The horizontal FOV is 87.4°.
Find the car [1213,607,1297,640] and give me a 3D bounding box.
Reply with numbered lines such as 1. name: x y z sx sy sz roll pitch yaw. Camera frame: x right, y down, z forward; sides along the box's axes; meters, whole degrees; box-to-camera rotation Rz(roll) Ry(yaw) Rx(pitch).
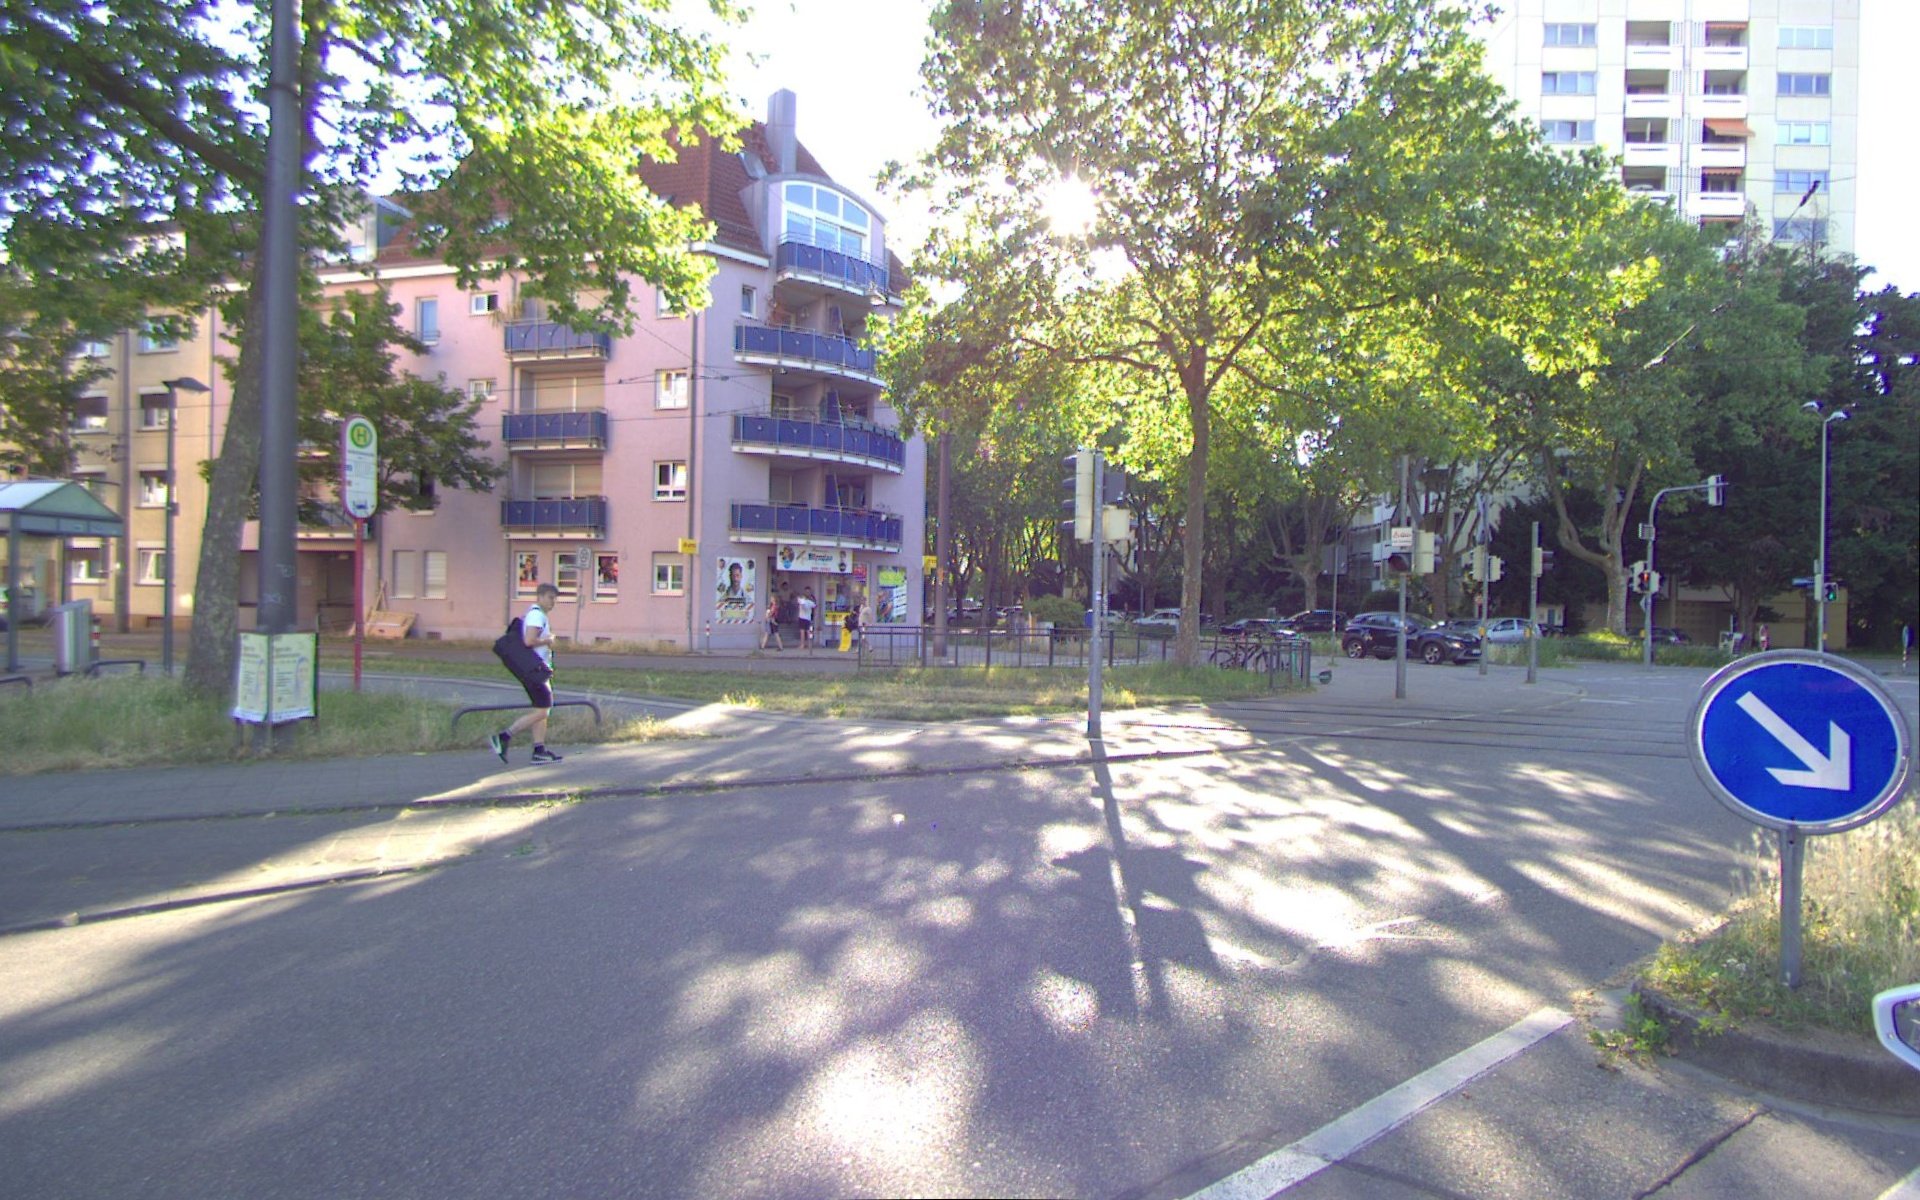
1. car: 15.682 1.240 53.513 3.921 1.617 1.738 2 0 0

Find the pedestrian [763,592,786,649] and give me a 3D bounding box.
1. pedestrian: -5.549 0.614 30.036 0.609 1.689 0.549 2 0 -15

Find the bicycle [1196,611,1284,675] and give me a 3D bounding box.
1. bicycle: 6.142 0.927 22.086 1.811 1.324 0.382 2 0 34

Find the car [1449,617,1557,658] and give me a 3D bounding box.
1. car: 23.636 1.611 43.808 3.732 1.617 1.738 2 0 0

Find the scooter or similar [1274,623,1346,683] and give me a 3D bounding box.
1. scooter or similar: 7.665 1.156 22.043 1.412 1.255 0.414 2 0 9

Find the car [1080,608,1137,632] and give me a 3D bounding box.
1. car: 10.869 1.468 73.734 3.921 1.617 1.738 2 0 0

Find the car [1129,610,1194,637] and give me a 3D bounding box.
1. car: 13.181 1.520 65.818 3.921 1.617 1.738 2 0 0

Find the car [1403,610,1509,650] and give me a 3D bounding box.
1. car: 22.603 1.347 45.859 3.921 1.617 1.738 2 0 0

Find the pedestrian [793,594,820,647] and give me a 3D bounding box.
1. pedestrian: -4.973 0.658 32.560 0.610 1.689 0.549 2 0 38

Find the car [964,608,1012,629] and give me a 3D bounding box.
1. car: 2.404 1.548 86.210 3.919 1.617 1.739 2 0 9

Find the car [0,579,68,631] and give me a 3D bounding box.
1. car: -33.720 0.132 35.092 4.029 1.728 1.940 2 0 17

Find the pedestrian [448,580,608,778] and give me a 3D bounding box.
1. pedestrian: -4.152 0.711 9.684 0.889 1.760 1.084 2 0 38

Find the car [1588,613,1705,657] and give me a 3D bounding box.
1. car: 31.380 1.564 46.021 1.971 1.798 3.979 2 0 -22

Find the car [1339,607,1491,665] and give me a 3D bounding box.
1. car: 14.076 1.081 31.269 1.722 1.617 3.959 2 0 -36

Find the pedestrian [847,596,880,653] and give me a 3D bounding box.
1. pedestrian: -2.950 0.730 30.650 0.613 1.689 0.918 2 0 -31
